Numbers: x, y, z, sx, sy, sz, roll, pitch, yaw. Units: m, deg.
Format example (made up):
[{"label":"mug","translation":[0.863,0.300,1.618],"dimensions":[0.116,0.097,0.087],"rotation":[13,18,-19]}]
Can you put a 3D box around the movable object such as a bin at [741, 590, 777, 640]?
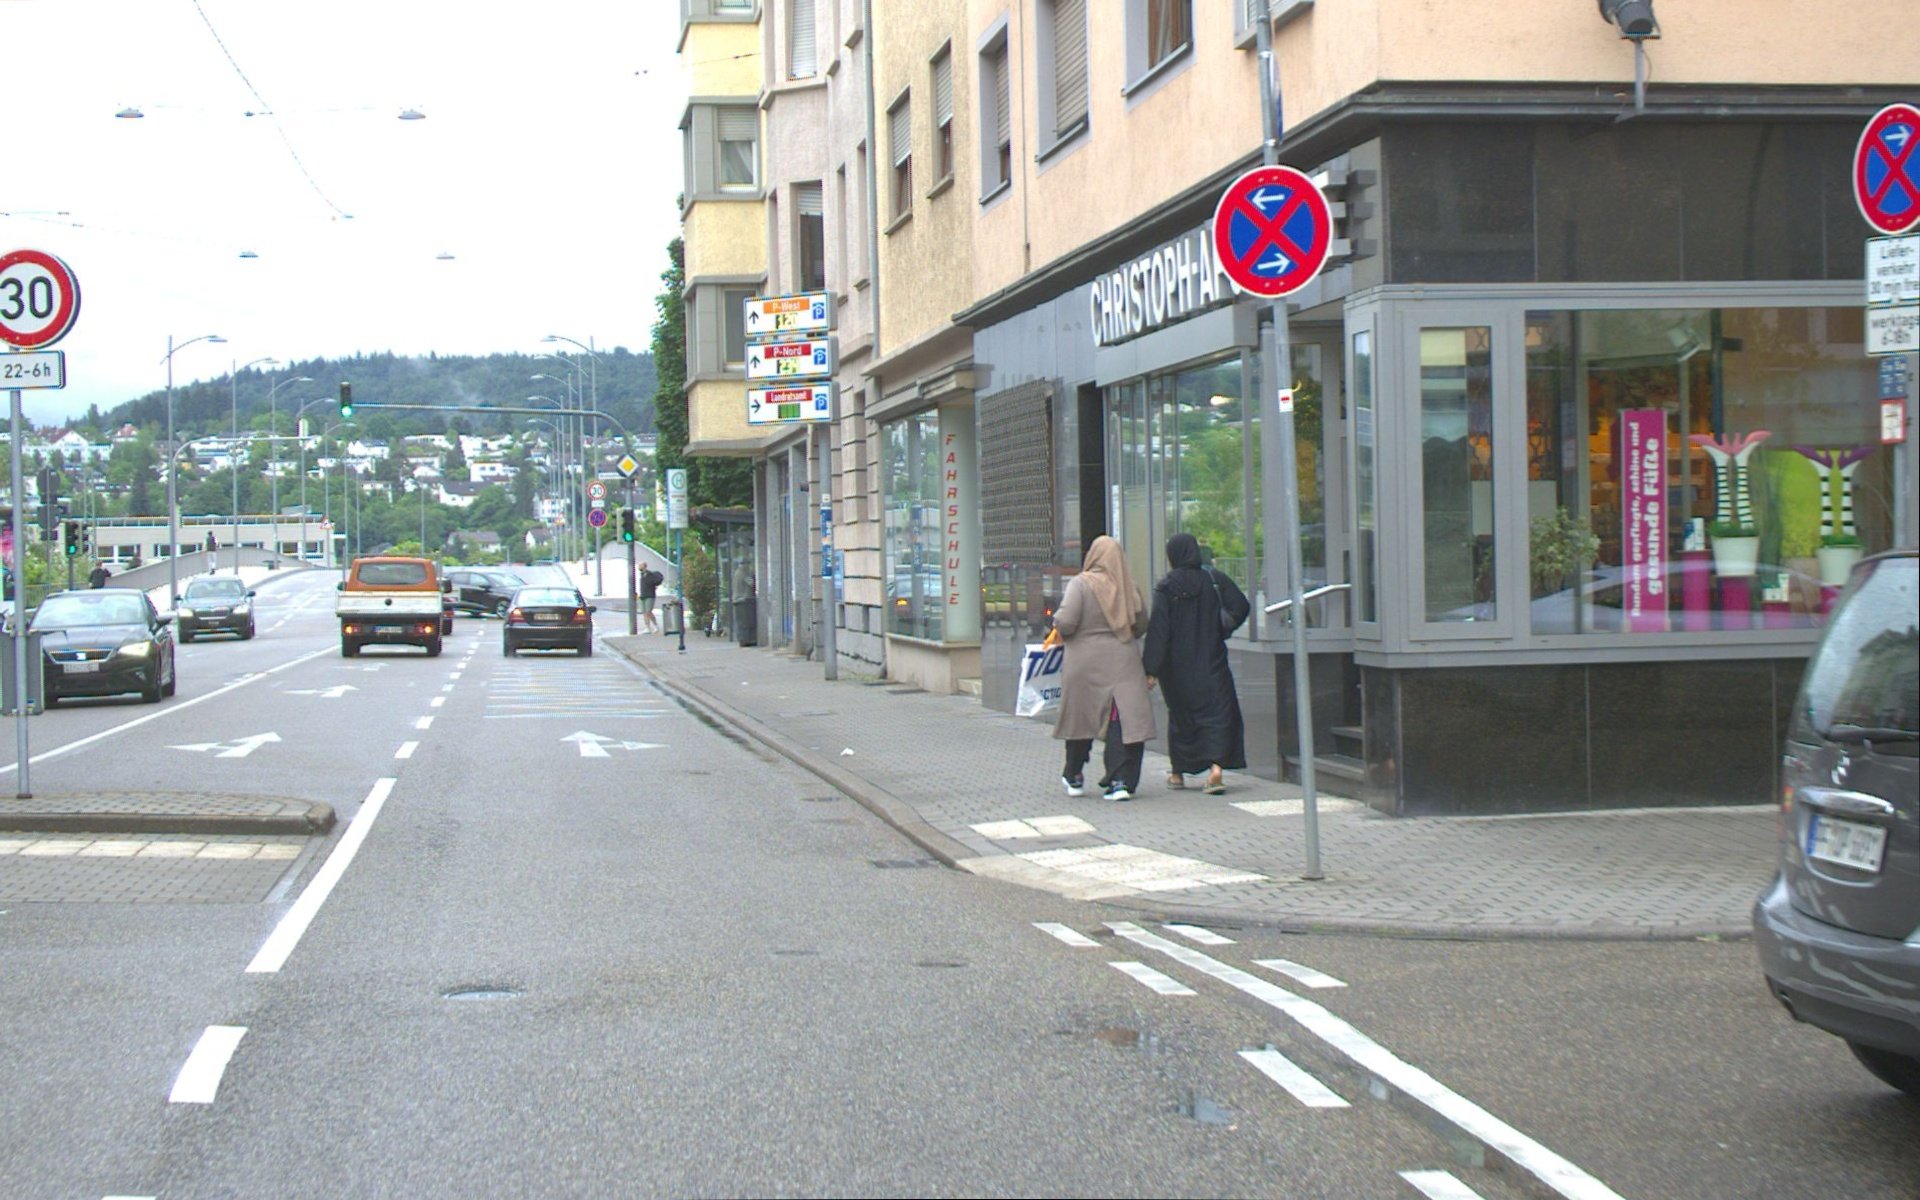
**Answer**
[{"label":"movable object such as a bin","translation":[-3.801,0.276,65.040],"dimensions":[0.600,0.923,0.705],"rotation":[-2,0,-7]}]

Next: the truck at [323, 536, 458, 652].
[{"label":"truck","translation":[-11.203,-0.131,67.926],"dimensions":[2.399,2.122,5.316],"rotation":[-2,1,-8]}]

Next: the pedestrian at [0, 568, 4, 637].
[{"label":"pedestrian","translation":[-21.686,0.062,76.686],"dimensions":[0.574,1.548,0.740],"rotation":[-2,0,-10]}]

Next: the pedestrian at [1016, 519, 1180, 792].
[{"label":"pedestrian","translation":[0.804,0.316,20.221],"dimensions":[0.778,1.554,0.783],"rotation":[-2,0,-9]}]

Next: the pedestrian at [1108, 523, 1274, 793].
[{"label":"pedestrian","translation":[1.371,0.336,20.514],"dimensions":[0.768,1.554,0.876],"rotation":[-2,0,-9]}]

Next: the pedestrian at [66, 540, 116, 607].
[{"label":"pedestrian","translation":[-26.188,-0.803,103.656],"dimensions":[0.983,2.007,1.173],"rotation":[-2,0,13]}]

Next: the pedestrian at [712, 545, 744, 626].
[{"label":"pedestrian","translation":[-4.941,-0.307,73.201],"dimensions":[0.619,1.693,0.656],"rotation":[-2,0,-3]}]

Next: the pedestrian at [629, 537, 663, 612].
[{"label":"pedestrian","translation":[-7.769,-0.630,85.036],"dimensions":[0.732,1.835,0.631],"rotation":[-2,0,-9]}]

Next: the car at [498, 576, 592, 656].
[{"label":"car","translation":[-8.177,0.300,67.642],"dimensions":[1.754,1.474,4.001],"rotation":[-2,1,-7]}]

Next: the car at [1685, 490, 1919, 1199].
[{"label":"car","translation":[3.936,0.483,8.345],"dimensions":[3.824,1.568,1.937],"rotation":[-2,1,-5]}]

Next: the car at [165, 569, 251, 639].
[{"label":"car","translation":[-19.937,0.080,91.278],"dimensions":[1.930,1.751,4.574],"rotation":[-2,1,-9]}]

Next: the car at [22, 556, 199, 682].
[{"label":"car","translation":[-10.529,0.208,42.825],"dimensions":[1.708,1.446,4.087],"rotation":[-2,1,-8]}]

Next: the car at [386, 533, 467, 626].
[{"label":"car","translation":[-14.108,-0.550,91.084],"dimensions":[1.993,2.342,5.010],"rotation":[-2,1,-8]}]

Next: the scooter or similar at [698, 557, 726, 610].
[{"label":"scooter or similar","translation":[-5.621,-0.383,77.782],"dimensions":[0.511,1.168,1.549],"rotation":[-2,1,-7]}]
